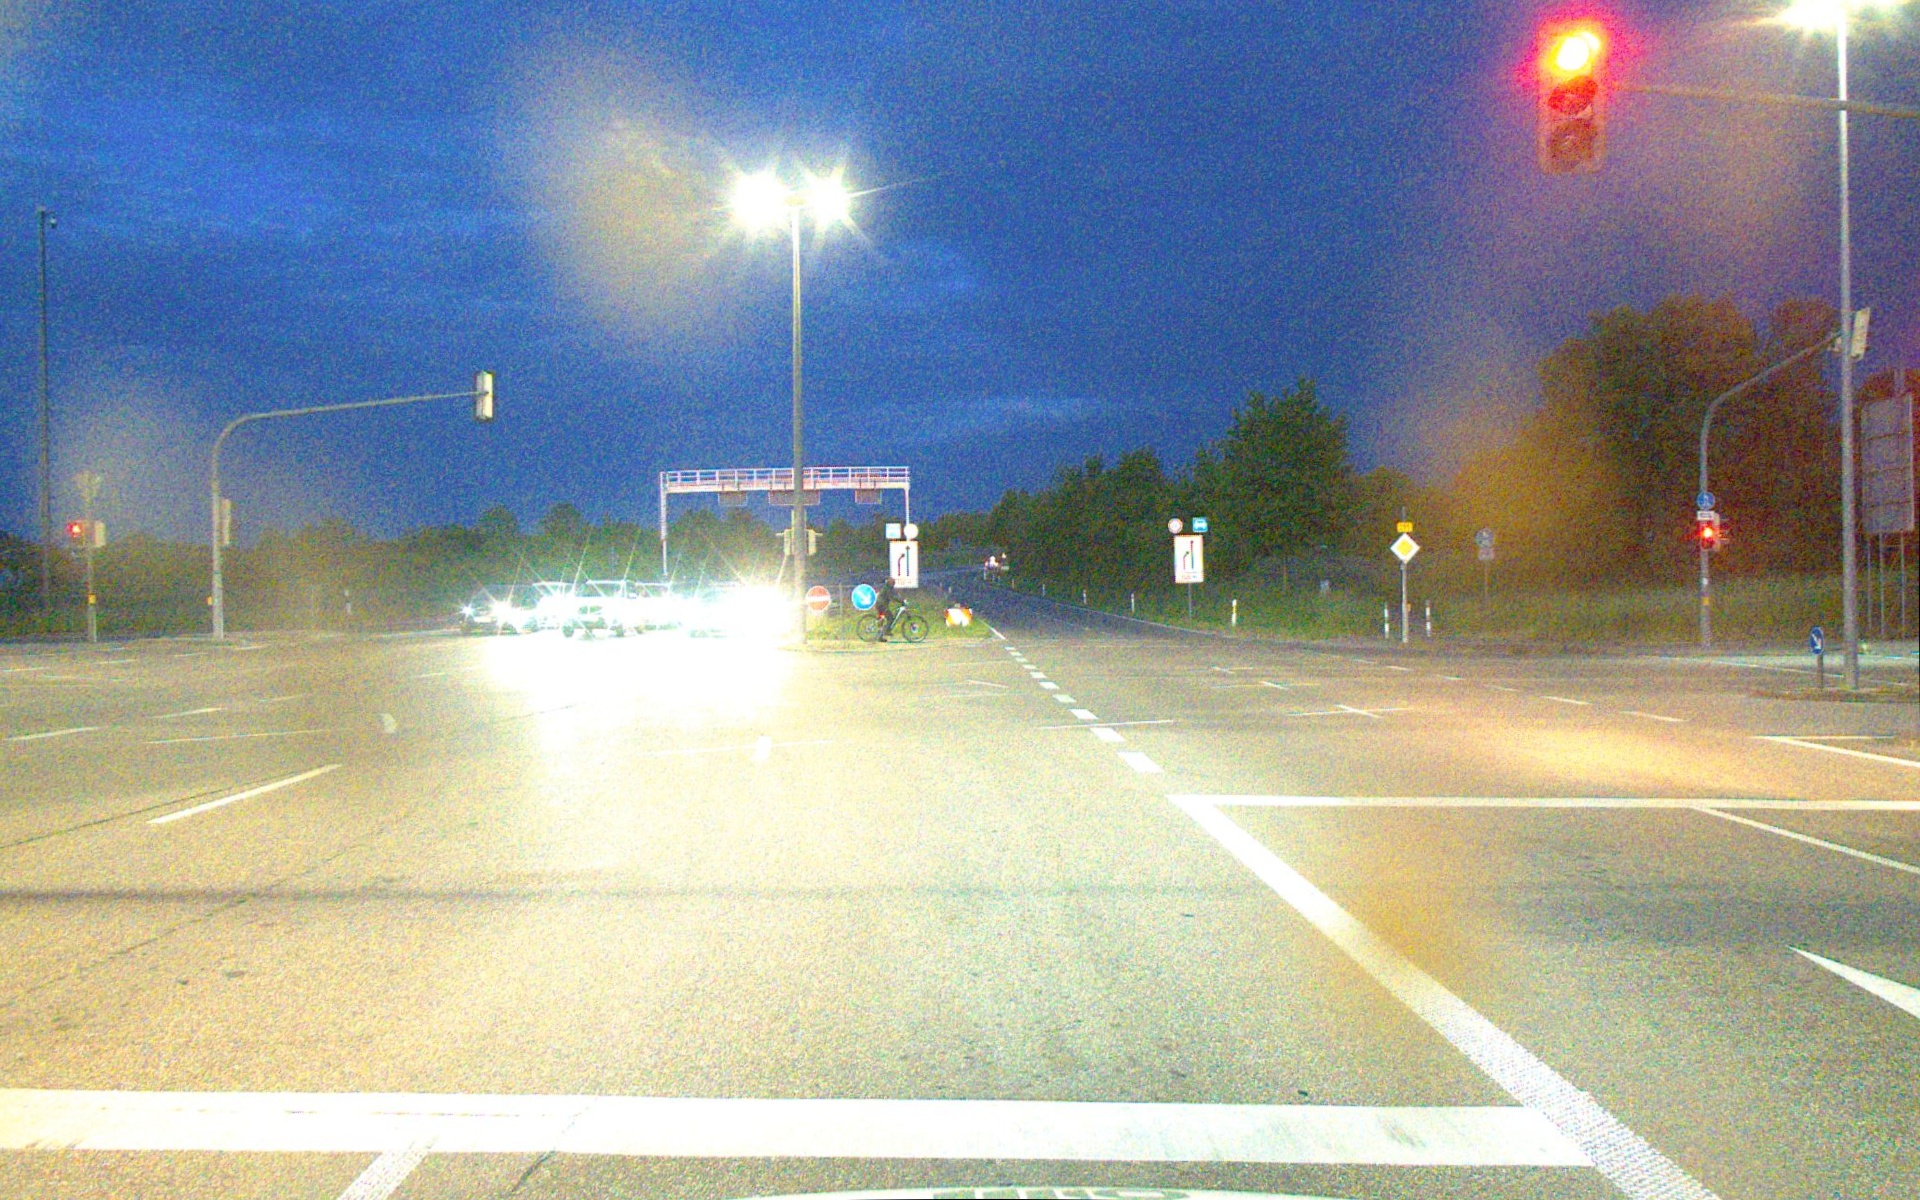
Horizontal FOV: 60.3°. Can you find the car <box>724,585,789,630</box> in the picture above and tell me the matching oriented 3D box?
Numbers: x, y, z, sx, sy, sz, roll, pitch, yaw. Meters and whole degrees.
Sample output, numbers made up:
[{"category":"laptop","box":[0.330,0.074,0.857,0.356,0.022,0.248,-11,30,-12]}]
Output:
[{"category":"car","box":[-7.165,0.230,58.650,1.736,1.507,3.911,1,1,1]}]

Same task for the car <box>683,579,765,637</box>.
[{"category":"car","box":[-7.172,0.202,50.655,1.814,1.661,4.586,0,1,0]}]

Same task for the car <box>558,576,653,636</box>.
[{"category":"car","box":[-10.738,0.143,50.397,1.869,1.711,4.421,1,1,1]}]

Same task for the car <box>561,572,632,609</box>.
[{"category":"car","box":[-14.359,-0.394,65.509,1.794,1.414,4.397,-1,1,0]}]

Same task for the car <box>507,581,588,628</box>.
[{"category":"car","box":[-14.385,0.133,57.822,1.794,1.551,4.000,-1,1,0]}]

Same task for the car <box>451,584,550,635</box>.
[{"category":"car","box":[-14.234,0.268,51.471,1.743,1.471,4.292,1,1,2]}]

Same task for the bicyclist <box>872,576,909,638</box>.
[{"category":"bicyclist","box":[-1.872,0.188,44.530,0.977,1.680,0.603,0,0,-6]}]

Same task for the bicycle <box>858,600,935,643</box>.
[{"category":"bicycle","box":[-1.717,0.576,44.533,2.021,1.120,0.694,0,0,-6]}]

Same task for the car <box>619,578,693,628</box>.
[{"category":"car","box":[-10.583,0.074,57.795,1.709,1.655,4.363,0,1,1]}]
